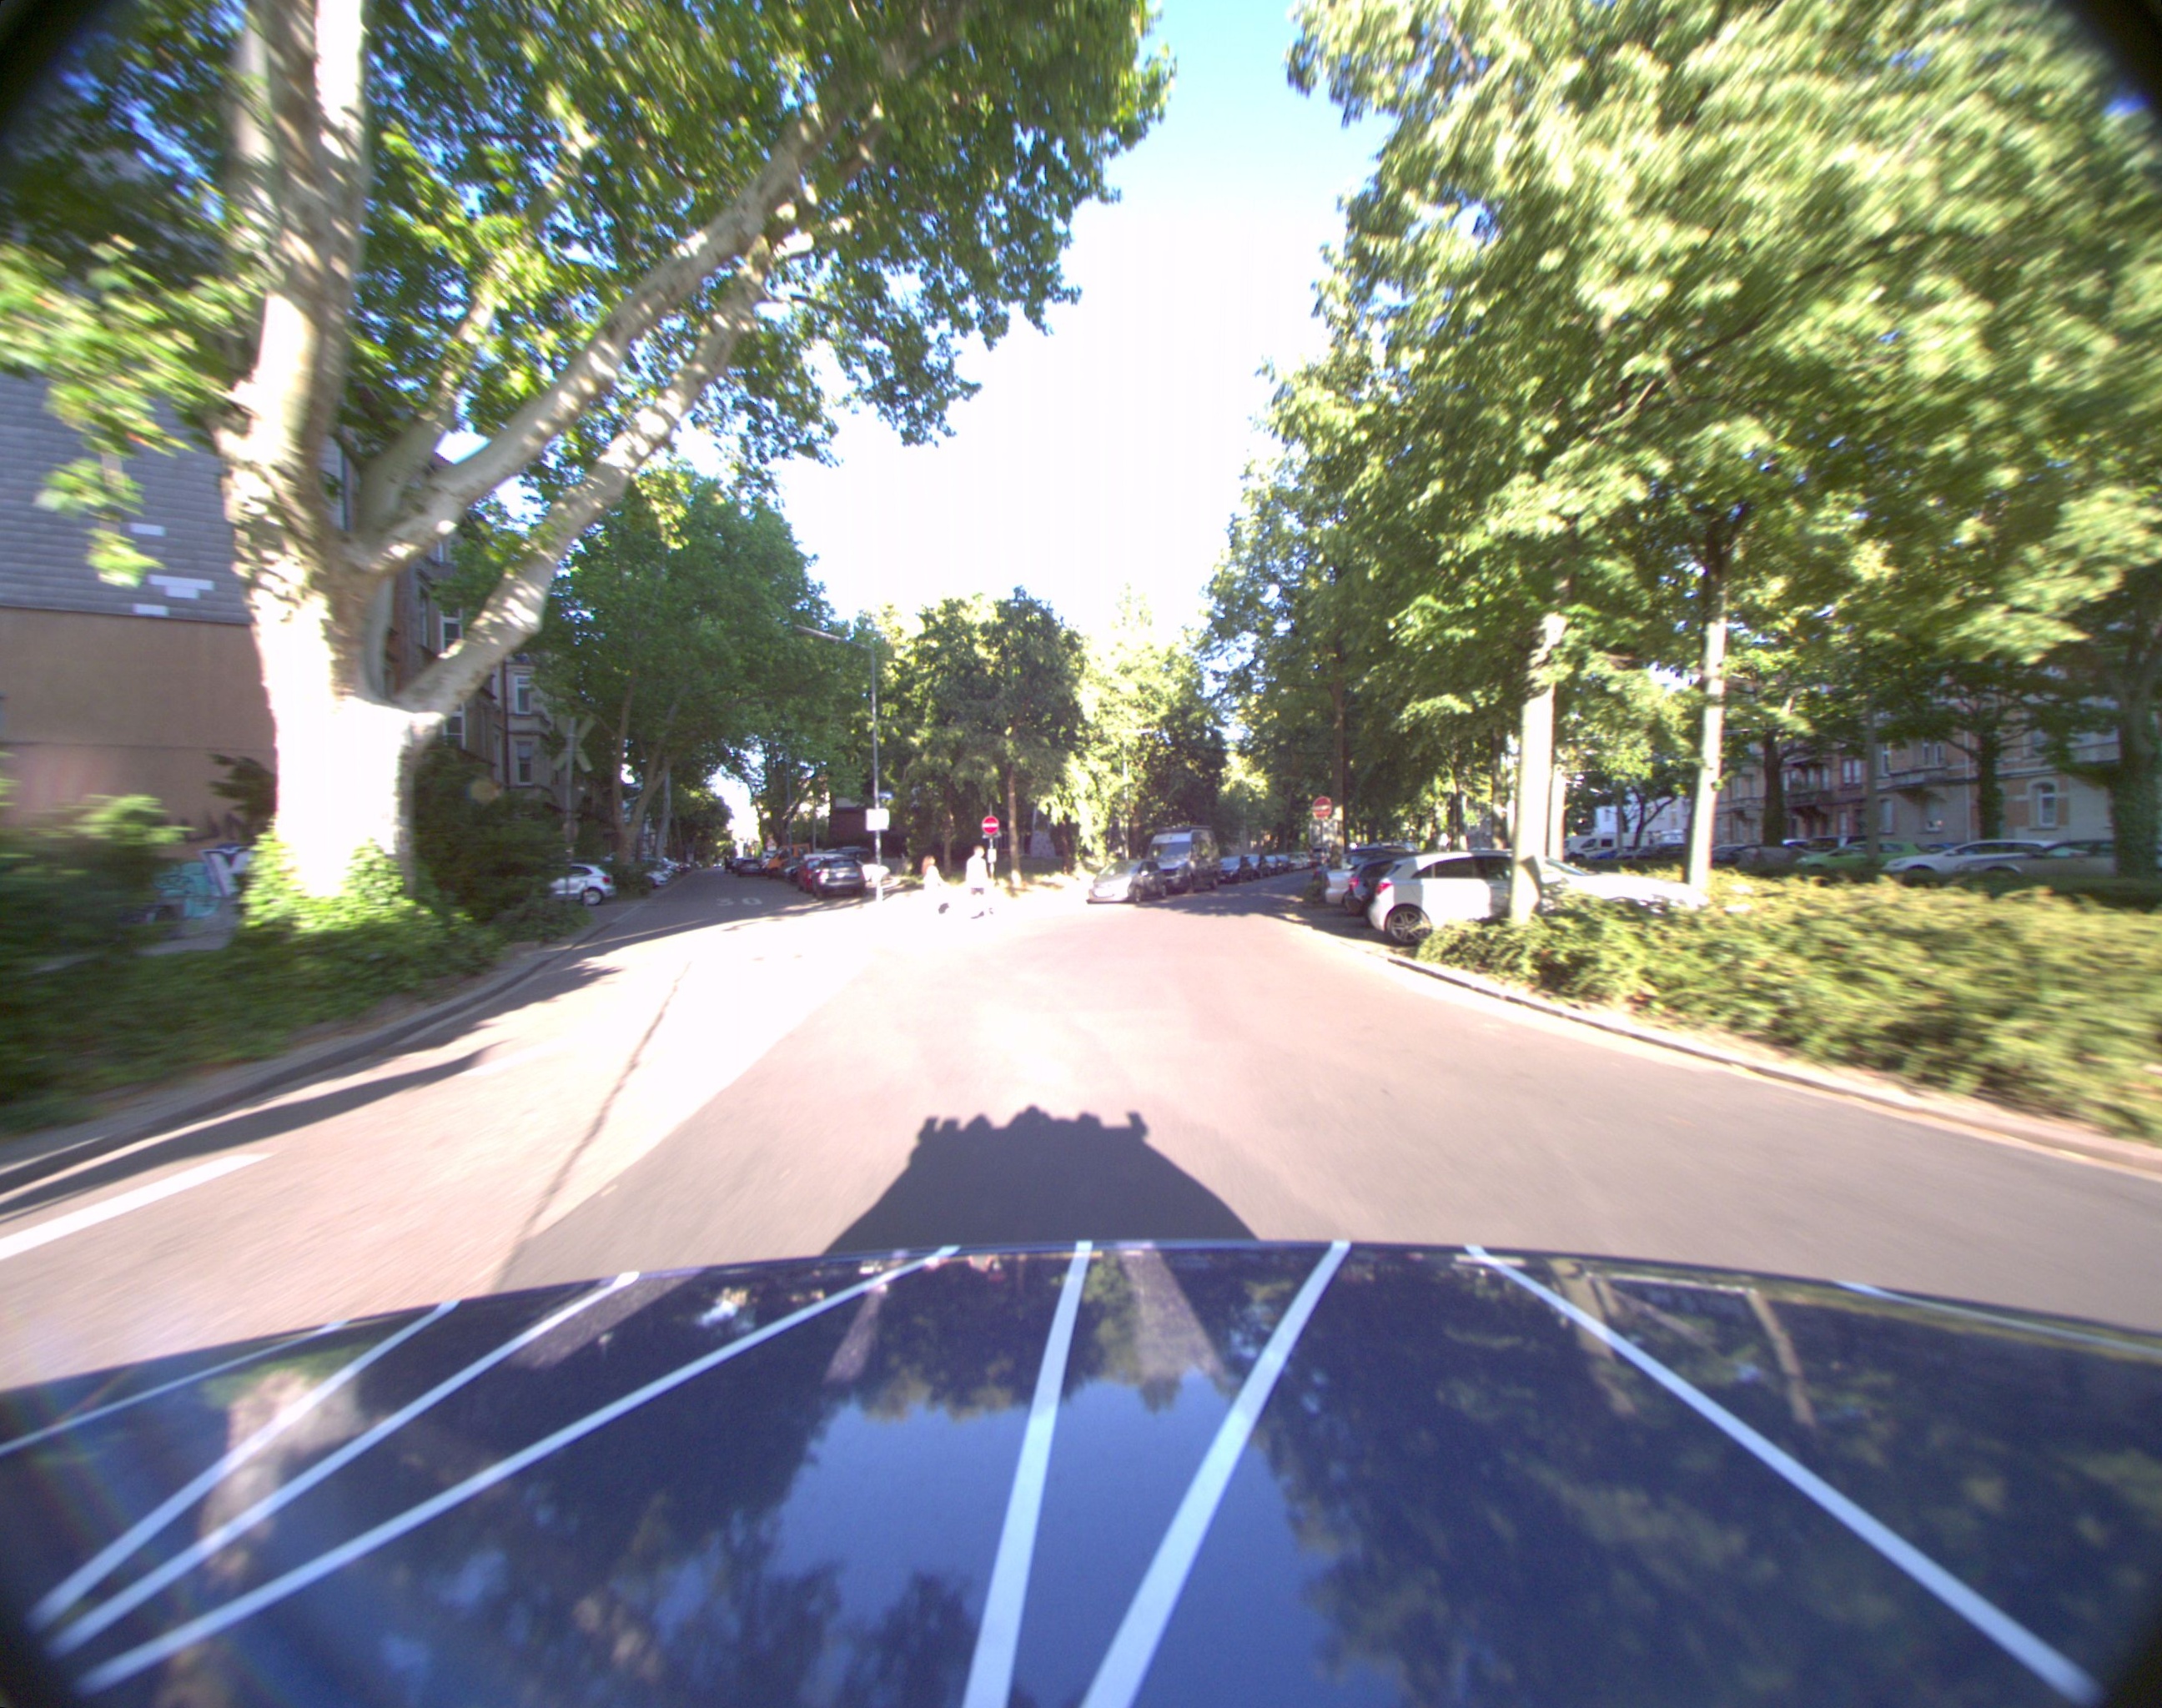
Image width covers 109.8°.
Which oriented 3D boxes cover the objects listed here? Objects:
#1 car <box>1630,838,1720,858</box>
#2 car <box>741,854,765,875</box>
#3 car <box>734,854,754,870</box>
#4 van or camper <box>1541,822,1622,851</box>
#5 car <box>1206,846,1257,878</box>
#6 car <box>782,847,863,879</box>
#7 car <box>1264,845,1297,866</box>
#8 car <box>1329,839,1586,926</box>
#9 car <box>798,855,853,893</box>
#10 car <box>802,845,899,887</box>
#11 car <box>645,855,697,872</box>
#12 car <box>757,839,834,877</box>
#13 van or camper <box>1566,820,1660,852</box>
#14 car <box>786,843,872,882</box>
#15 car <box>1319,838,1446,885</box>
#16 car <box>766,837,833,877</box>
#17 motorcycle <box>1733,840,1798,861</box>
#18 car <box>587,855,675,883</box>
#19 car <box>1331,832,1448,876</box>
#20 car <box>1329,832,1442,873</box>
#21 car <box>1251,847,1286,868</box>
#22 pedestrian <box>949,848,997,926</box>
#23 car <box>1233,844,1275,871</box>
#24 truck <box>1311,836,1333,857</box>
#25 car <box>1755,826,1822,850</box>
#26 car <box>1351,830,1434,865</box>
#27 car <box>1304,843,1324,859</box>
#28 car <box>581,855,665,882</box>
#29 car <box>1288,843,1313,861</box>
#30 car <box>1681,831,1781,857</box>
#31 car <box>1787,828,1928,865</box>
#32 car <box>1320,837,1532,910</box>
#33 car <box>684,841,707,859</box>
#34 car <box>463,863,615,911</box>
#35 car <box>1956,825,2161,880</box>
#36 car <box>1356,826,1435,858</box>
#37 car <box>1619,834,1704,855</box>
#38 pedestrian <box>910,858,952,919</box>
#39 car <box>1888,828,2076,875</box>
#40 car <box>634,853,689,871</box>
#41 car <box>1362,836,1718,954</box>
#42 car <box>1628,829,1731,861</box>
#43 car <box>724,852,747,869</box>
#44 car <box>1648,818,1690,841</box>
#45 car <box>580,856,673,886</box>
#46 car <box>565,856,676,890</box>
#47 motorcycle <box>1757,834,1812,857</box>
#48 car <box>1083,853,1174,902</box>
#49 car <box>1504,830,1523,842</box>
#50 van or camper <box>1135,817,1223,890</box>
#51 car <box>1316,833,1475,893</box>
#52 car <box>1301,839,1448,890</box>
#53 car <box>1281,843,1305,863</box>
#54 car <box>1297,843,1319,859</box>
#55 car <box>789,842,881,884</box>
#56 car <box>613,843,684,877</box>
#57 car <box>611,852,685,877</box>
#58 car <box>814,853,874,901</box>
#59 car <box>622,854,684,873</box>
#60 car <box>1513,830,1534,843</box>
[{"bbox_3d":[36.730,-0.372,47.076,1.502,1.161,4.193,-2,1,-40],"label":"car"},{"bbox_3d":[-25.208,0.767,58.342,1.609,1.459,3.991,0,1,-25],"label":"car"},{"bbox_3d":[-30.821,0.712,69.359,1.602,1.459,2.993,0,1,-25],"label":"car"},{"bbox_3d":[44.305,-1.473,67.339,2.004,2.454,5.661,-2,1,-44],"label":"van or camper"},{"bbox_3d":[8.046,0.393,40.326,1.682,1.517,4.496,-2,0,23],"label":"car"},{"bbox_3d":[-15.409,0.531,45.320,4.405,1.484,1.783,-5,2,-22],"label":"car"},{"bbox_3d":[14.761,0.067,55.978,1.682,1.415,4.666,-2,0,23],"label":"car"},{"bbox_3d":[7.033,0.531,14.370,4.029,1.397,1.778,-3,1,37],"label":"car"},{"bbox_3d":[-11.379,0.817,33.626,1.746,1.441,4.635,-4,2,-24],"label":"car"},{"bbox_3d":[-11.653,0.563,38.413,4.405,1.698,1.730,-5,2,-22],"label":"car"},{"bbox_3d":[-40.876,0.925,75.716,4.491,1.621,1.730,0,0,-30],"label":"car"},{"bbox_3d":[-19.386,0.239,51.693,4.647,2.399,1.603,-2,1,-28],"label":"car"},{"bbox_3d":[41.311,-1.335,59.105,2.312,2.357,5.536,-1,1,-41],"label":"van or camper"},{"bbox_3d":[-14.359,0.455,43.227,4.405,1.767,1.783,-5,2,-22],"label":"car"},{"bbox_3d":[11.118,0.302,28.167,1.835,1.430,3.863,-4,-1,-42],"label":"car"},{"bbox_3d":[-21.870,0.199,59.084,4.647,2.950,1.603,-2,1,-28],"label":"car"},{"bbox_3d":[30.991,-0.143,34.427,1.022,0.884,1.972,-2,1,-31],"label":"motorcycle"},{"bbox_3d":[-27.117,0.892,45.919,4.491,1.621,1.730,0,1,-30],"label":"car"},{"bbox_3d":[13.674,0.044,33.911,1.945,1.616,4.348,-4,-1,-39],"label":"car"},{"bbox_3d":[15.665,-0.046,39.358,1.991,1.770,4.990,-4,-1,-40],"label":"car"},{"bbox_3d":[12.604,0.221,50.853,1.682,1.276,4.293,-2,0,21],"label":"car"},{"bbox_3d":[-2.565,0.766,18.024,0.812,1.771,0.717,-1,1,27],"label":"pedestrian"},{"bbox_3d":[10.496,0.195,45.904,1.682,1.517,4.294,-2,0,23],"label":"car"},{"bbox_3d":[29.536,-0.972,93.071,2.298,2.372,6.943,-2,0,20],"label":"truck"},{"bbox_3d":[47.256,-1.073,50.858,1.852,1.522,4.030,1,1,20],"label":"car"},{"bbox_3d":[18.321,-0.341,44.825,1.886,1.770,4.152,-4,-1,-30],"label":"car"},{"bbox_3d":[23.257,-0.295,75.731,1.674,1.445,3.954,-2,0,21],"label":"car"},{"bbox_3d":[-29.151,0.909,48.481,4.491,1.621,1.730,0,0,-30],"label":"car"},{"bbox_3d":[19.048,-0.185,65.808,1.682,1.445,4.082,-2,0,22],"label":"car"},{"bbox_3d":[34.618,-0.509,40.511,3.988,1.310,1.597,-1,1,42],"label":"car"},{"bbox_3d":[30.029,-0.272,29.456,1.711,1.373,3.728,-2,1,-42],"label":"car"},{"bbox_3d":[7.722,0.475,17.184,3.975,1.357,1.778,-5,-1,38],"label":"car"},{"bbox_3d":[-45.991,-0.450,90.703,2.002,2.002,3.993,-2,1,-21],"label":"car"},{"bbox_3d":[-18.053,1.052,25.553,4.007,1.464,1.730,0,0,-30],"label":"car"},{"bbox_3d":[27.324,-0.045,20.834,1.597,1.373,4.278,-2,1,-37],"label":"car"},{"bbox_3d":[25.408,-0.934,61.573,2.084,2.124,5.502,-4,-1,-38],"label":"car"},{"bbox_3d":[37.859,-0.618,49.639,1.639,1.302,4.177,-2,1,-39],"label":"car"},{"bbox_3d":[-3.974,0.908,20.181,0.812,1.598,0.718,-1,-1,27],"label":"pedestrian"},{"bbox_3d":[28.195,-0.076,23.968,1.730,1.373,3.728,-2,1,-43],"label":"car"},{"bbox_3d":[-38.992,0.717,70.665,4.491,1.621,1.730,0,0,-30],"label":"car"},{"bbox_3d":[6.705,0.575,11.381,4.283,1.421,1.778,-3,1,39],"label":"car"},{"bbox_3d":[31.489,-0.458,40.066,2.004,1.569,3.989,-2,1,-42],"label":"car"},{"bbox_3d":[-33.189,0.608,72.894,1.737,1.623,4.490,0,0,-28],"label":"car"},{"bbox_3d":[54.292,-2.274,70.226,1.995,2.002,4.005,-1,1,20],"label":"car"},{"bbox_3d":[-25.903,0.925,43.414,4.491,1.621,1.730,0,0,-30],"label":"car"},{"bbox_3d":[-23.089,0.919,38.265,4.487,1.621,1.732,0,0,-17],"label":"car"},{"bbox_3d":[30.440,-0.376,32.890,1.722,0.949,1.022,-1,1,42],"label":"motorcycle"},{"bbox_3d":[1.714,0.774,26.238,1.682,1.437,3.878,-4,-1,26],"label":"car"},{"bbox_3d":[74.582,-3.017,131.194,1.996,2.002,4.005,-1,1,17],"label":"car"},{"bbox_3d":[4.245,-0.049,31.898,2.086,2.746,5.854,-2,0,23],"label":"van or camper"},{"bbox_3d":[9.274,0.307,22.635,1.835,1.485,3.875,-4,-1,-41],"label":"car"},{"bbox_3d":[9.885,0.378,25.812,1.835,1.430,4.190,-4,-1,-42],"label":"car"},{"bbox_3d":[17.157,-0.104,61.410,1.682,1.445,4.081,-2,0,18],"label":"car"},{"bbox_3d":[21.137,-0.306,70.791,1.592,1.445,3.560,-2,0,22],"label":"car"},{"bbox_3d":[-13.163,0.456,40.649,4.405,1.767,1.783,-5,2,-22],"label":"car"},{"bbox_3d":[-32.601,0.414,57.313,4.599,2.487,1.730,0,0,-30],"label":"car"},{"bbox_3d":[-31.389,0.772,55.158,4.599,1.755,1.730,0,0,-30],"label":"car"},{"bbox_3d":[-9.047,0.803,28.796,1.744,1.543,4.268,-5,2,-21],"label":"car"},{"bbox_3d":[-36.007,0.786,63.935,4.491,1.621,1.730,0,0,-30],"label":"car"},{"bbox_3d":[72.891,-2.816,125.198,1.996,2.002,4.005,-1,1,17],"label":"car"}]
